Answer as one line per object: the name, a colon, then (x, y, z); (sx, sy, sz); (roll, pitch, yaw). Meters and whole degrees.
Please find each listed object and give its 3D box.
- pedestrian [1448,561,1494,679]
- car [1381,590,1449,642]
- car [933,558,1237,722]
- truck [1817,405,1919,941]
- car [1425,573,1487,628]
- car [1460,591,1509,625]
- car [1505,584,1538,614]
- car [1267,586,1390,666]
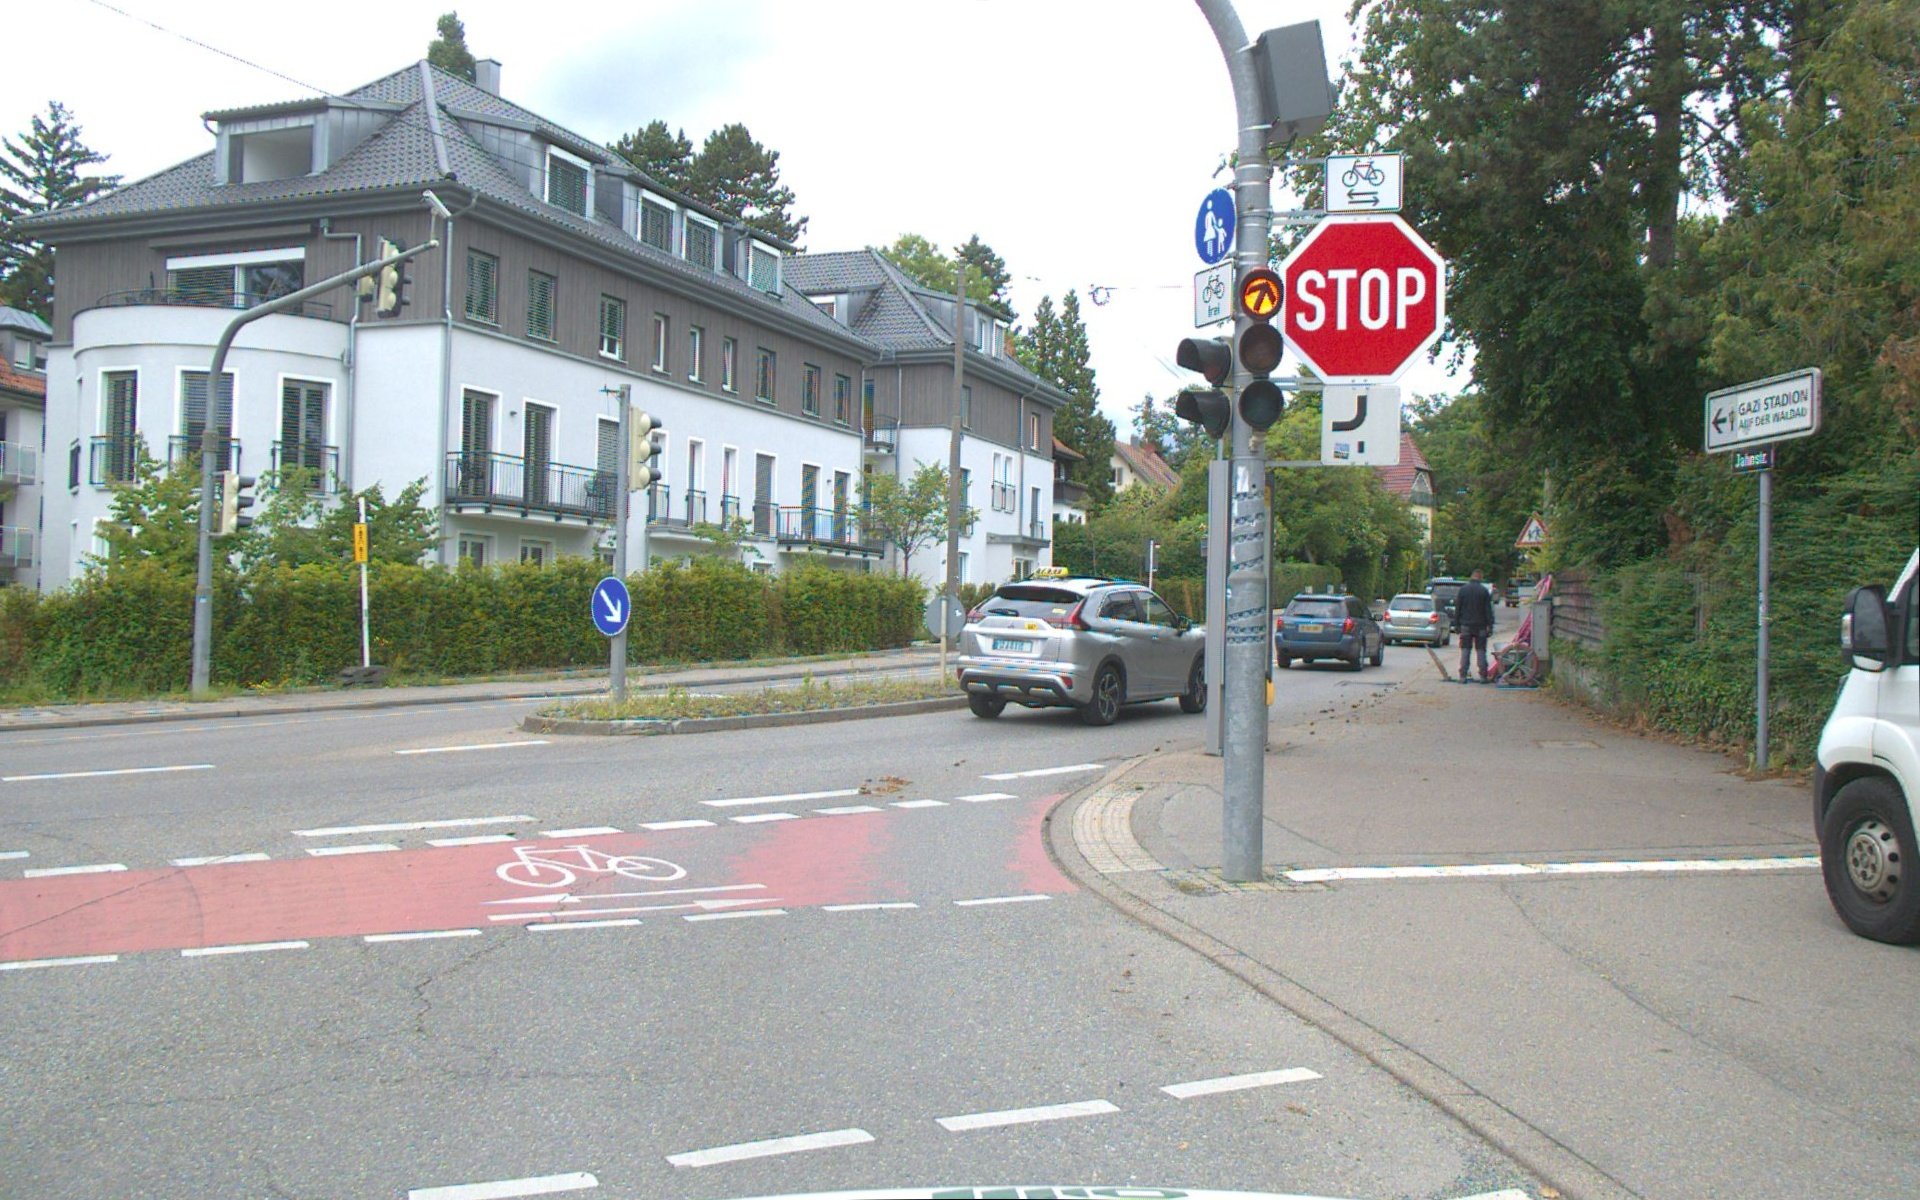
pedestrian: (8.518, 0.335, 27.581); (0.584, 1.940, 0.558); (1, 0, 0)
car: (13.244, 0.447, 48.033); (1.658, 1.455, 3.749); (-1, 0, 19)
car: (1.660, 0.423, 20.320); (1.775, 1.784, 4.474); (-1, 0, 33)
truck: (5.133, 0.326, 5.027); (2.162, 2.283, 5.724); (1, 0, 1)
car: (18.783, -0.007, 62.496); (1.879, 1.927, 4.909); (2, 1, 20)
car: (24.424, 0.356, 76.954); (1.804, 1.485, 4.077); (2, 1, 22)
car: (37.932, -0.085, 111.636); (1.899, 1.857, 4.078); (2, 1, 21)
car: (7.788, 0.504, 34.655); (1.763, 1.553, 4.742); (-1, 0, 22)
